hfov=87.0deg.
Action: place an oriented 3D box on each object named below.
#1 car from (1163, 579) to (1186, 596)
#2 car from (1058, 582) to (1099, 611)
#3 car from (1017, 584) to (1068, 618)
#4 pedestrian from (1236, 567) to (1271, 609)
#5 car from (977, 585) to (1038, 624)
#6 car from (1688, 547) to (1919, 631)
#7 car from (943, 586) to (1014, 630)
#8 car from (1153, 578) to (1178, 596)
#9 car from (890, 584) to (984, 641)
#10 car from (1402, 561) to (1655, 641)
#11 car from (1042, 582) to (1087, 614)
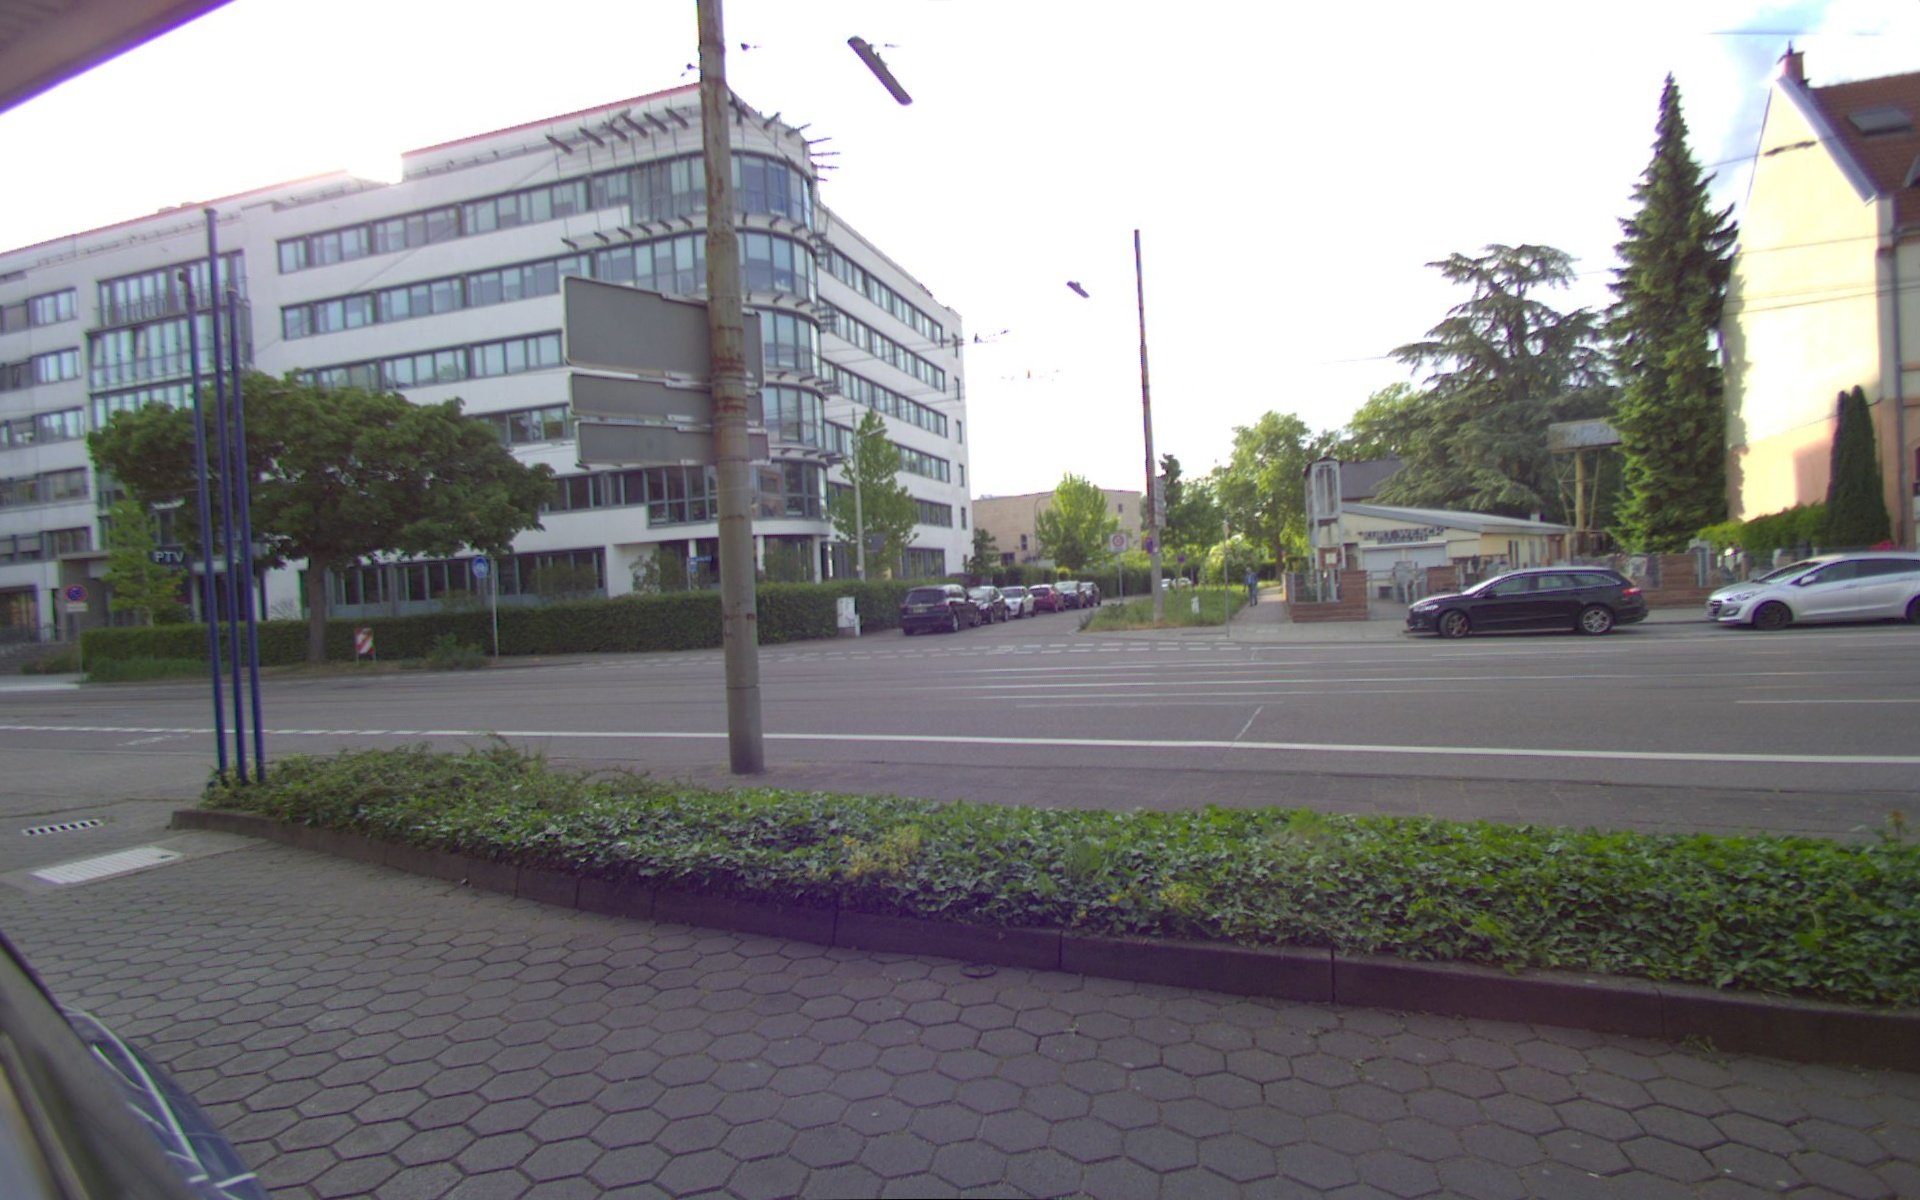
[{"bbox_3d":[22.567,-1.325,106.312,1.774,1.653,4.060,-4,0,19],"label":"car"},{"bbox_3d":[7.377,-0.246,62.672,1.773,1.653,4.064,-4,0,17],"label":"car"},{"bbox_3d":[4.292,0.013,52.361,1.773,1.552,4.018,-4,0,17],"label":"car"},{"bbox_3d":[13.023,-0.524,44.950,0.988,1.843,1.096,-1,0,-25],"label":"pedestrian"},{"bbox_3d":[2.212,0.168,45.756,1.773,1.565,4.083,-4,0,17],"label":"car"},{"bbox_3d":[18.499,-0.255,21.499,4.459,1.486,1.986,-4,0,22],"label":"car"},{"bbox_3d":[0.804,0.283,40.894,1.773,1.565,4.083,-4,0,17],"label":"car"},{"bbox_3d":[20.429,-1.295,100.615,1.774,1.653,4.060,-4,0,19],"label":"car"},{"bbox_3d":[-0.716,0.376,35.537,1.962,1.625,4.411,-4,2,17],"label":"car"},{"bbox_3d":[12.922,0.045,23.416,4.791,1.507,1.986,-3,0,22],"label":"car"},{"bbox_3d":[5.986,-0.147,57.662,1.773,1.653,4.064,-4,0,17],"label":"car"}]
